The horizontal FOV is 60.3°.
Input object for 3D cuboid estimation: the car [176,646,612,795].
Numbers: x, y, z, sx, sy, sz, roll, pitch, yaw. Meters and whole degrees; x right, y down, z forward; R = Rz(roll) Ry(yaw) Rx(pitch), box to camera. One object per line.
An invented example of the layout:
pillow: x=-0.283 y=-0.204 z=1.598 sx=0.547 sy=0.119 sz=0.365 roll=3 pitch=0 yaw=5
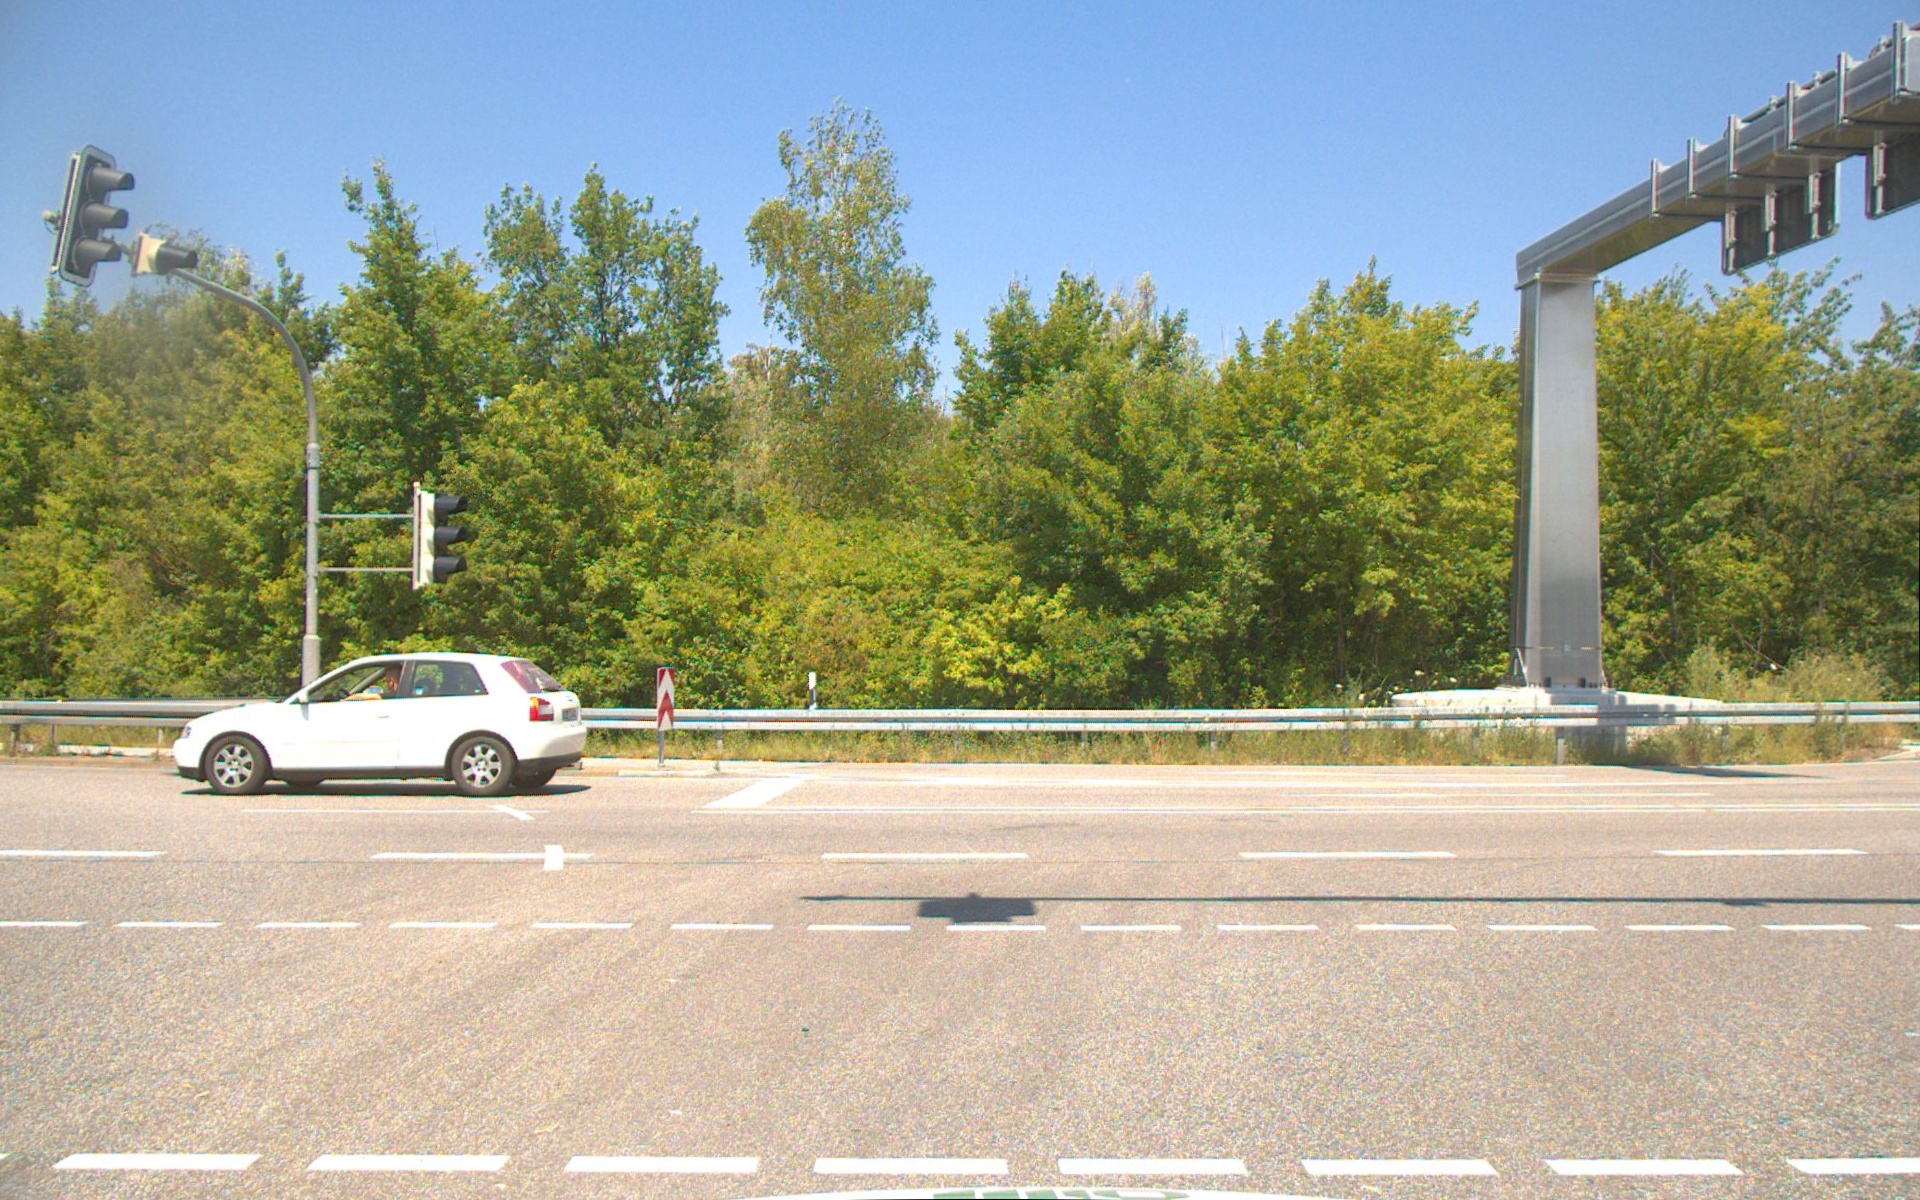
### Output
car: x=-5.757 y=1.238 z=17.137 sx=3.895 sy=1.420 sz=1.647 roll=1 pitch=-4 yaw=2
